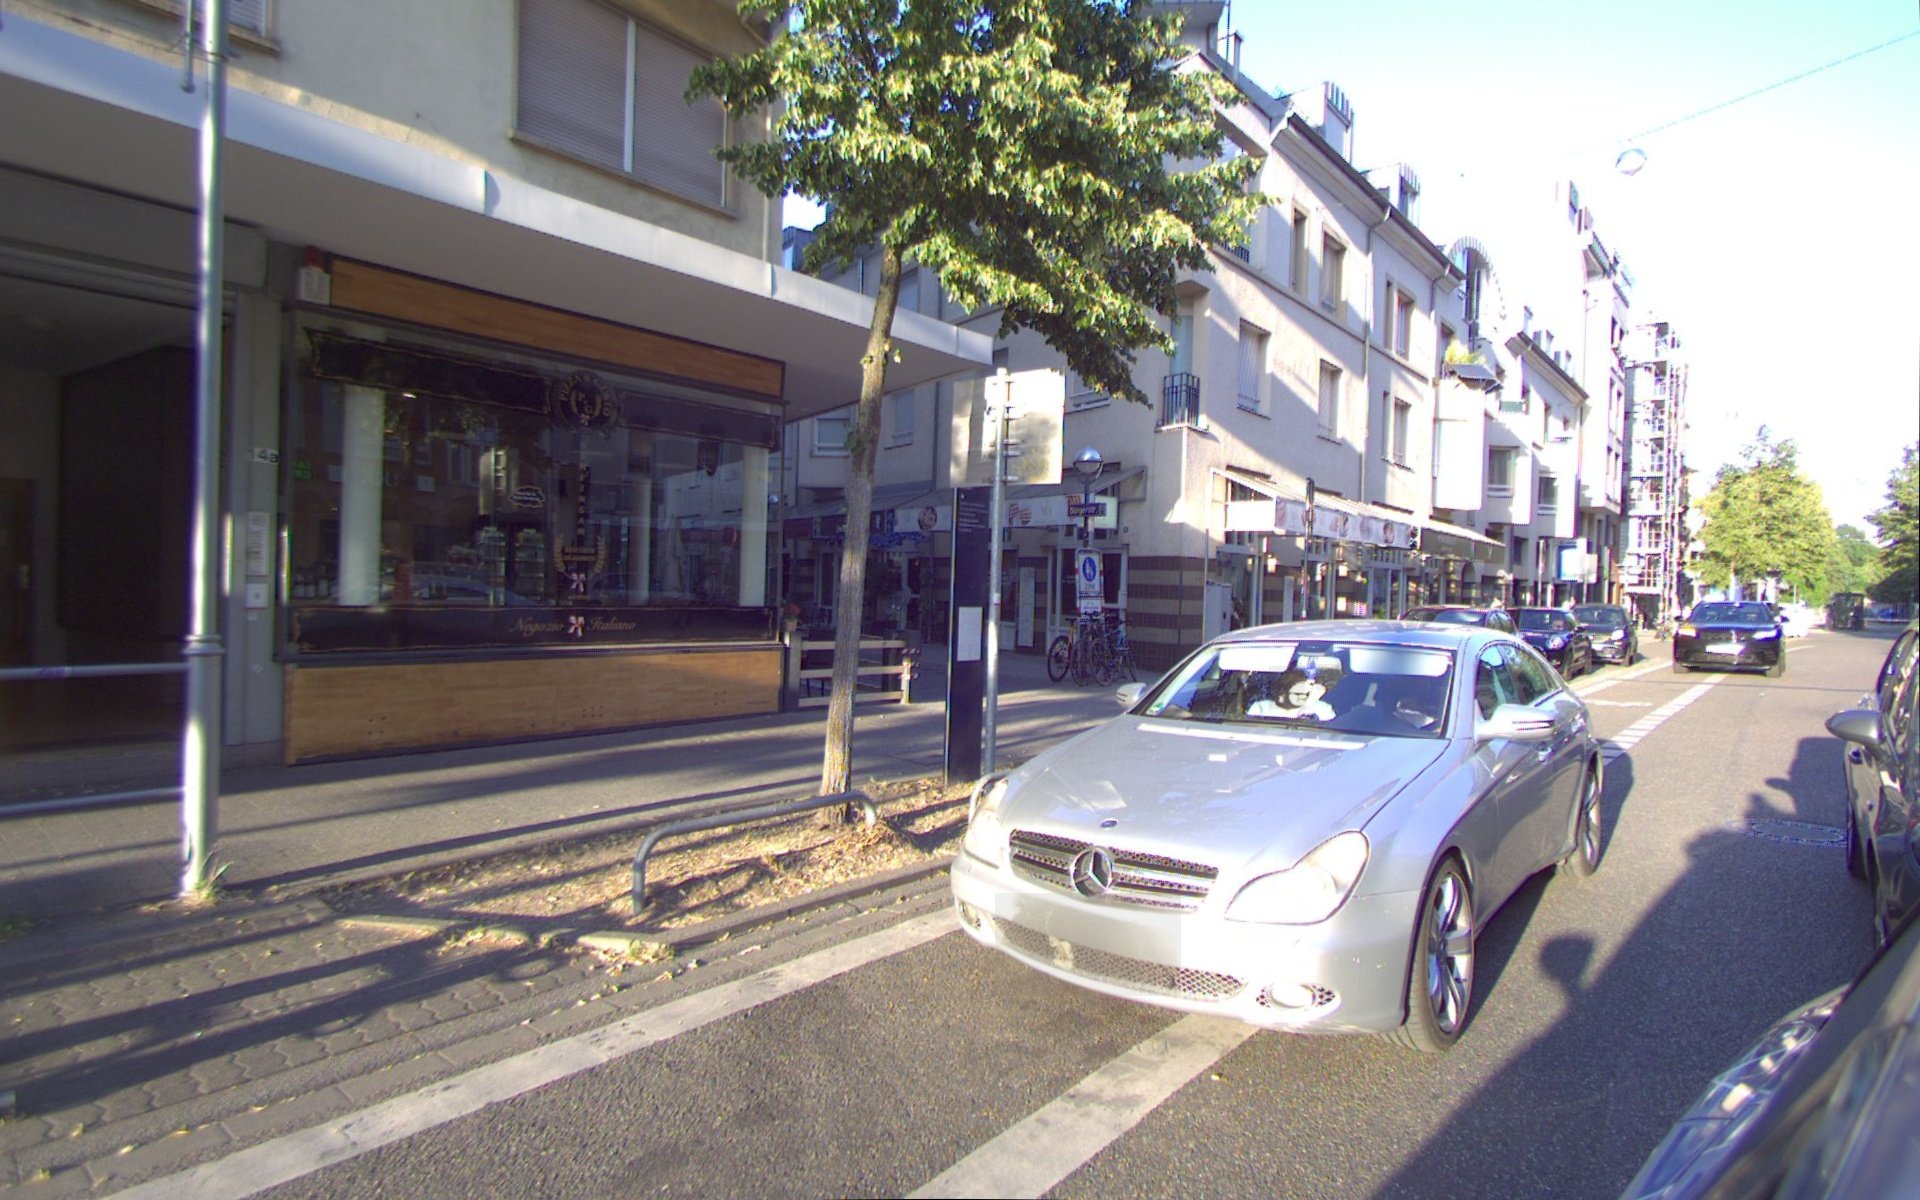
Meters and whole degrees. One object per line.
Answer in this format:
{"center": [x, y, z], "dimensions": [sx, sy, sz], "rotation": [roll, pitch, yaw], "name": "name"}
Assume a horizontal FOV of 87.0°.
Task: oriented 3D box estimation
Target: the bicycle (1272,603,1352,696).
{"center": [5.180, 0.686, 14.835], "dimensions": [0.503, 1.253, 1.687], "rotation": [3, 2, 40], "name": "bicycle"}

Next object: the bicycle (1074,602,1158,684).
{"center": [2.405, 0.617, 15.377], "dimensions": [0.330, 1.144, 1.986], "rotation": [3, 2, 37], "name": "bicycle"}

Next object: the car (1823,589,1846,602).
{"center": [95.455, -0.499, 110.496], "dimensions": [3.173, 1.490, 1.612], "rotation": [-1, 0, -44], "name": "car"}

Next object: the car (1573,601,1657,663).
{"center": [17.053, 0.775, 26.277], "dimensions": [1.426, 1.469, 3.331], "rotation": [1, 1, 40], "name": "car"}

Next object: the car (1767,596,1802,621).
{"center": [58.130, 0.558, 71.345], "dimensions": [1.760, 1.652, 3.814], "rotation": [3, 2, 41], "name": "car"}

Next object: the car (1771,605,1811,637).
{"center": [46.697, 1.155, 56.839], "dimensions": [1.686, 1.675, 3.679], "rotation": [0, 0, 41], "name": "car"}

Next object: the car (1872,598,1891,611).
{"center": [133.652, 0.586, 146.797], "dimensions": [3.525, 1.829, 1.842], "rotation": [-1, 0, -44], "name": "car"}

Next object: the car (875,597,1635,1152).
{"center": [1.828, 0.692, 4.873], "dimensions": [1.784, 1.386, 4.504], "rotation": [0, 0, 41], "name": "car"}

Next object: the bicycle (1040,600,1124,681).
{"center": [1.926, 0.596, 15.758], "dimensions": [0.330, 1.144, 1.986], "rotation": [1, 1, 37], "name": "bicycle"}

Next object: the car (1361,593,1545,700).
{"center": [7.793, 0.645, 15.831], "dimensions": [1.647, 1.446, 3.940], "rotation": [0, 0, 41], "name": "car"}

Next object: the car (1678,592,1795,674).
{"center": [17.622, 0.678, 22.911], "dimensions": [1.889, 1.663, 3.694], "rotation": [1, 1, 41], "name": "car"}

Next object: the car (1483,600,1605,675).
{"center": [12.146, 0.707, 20.958], "dimensions": [1.608, 1.412, 3.642], "rotation": [0, 0, 39], "name": "car"}

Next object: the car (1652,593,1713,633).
{"center": [31.506, 0.551, 44.110], "dimensions": [1.760, 1.591, 3.814], "rotation": [3, 2, 41], "name": "car"}

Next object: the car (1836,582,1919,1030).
{"center": [4.874, 0.686, 4.246], "dimensions": [1.580, 1.471, 3.790], "rotation": [1, 1, 38], "name": "car"}

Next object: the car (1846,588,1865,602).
{"center": [106.170, -0.573, 120.040], "dimensions": [1.667, 1.660, 3.207], "rotation": [0, 0, 42], "name": "car"}

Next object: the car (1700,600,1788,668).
{"center": [20.258, 0.812, 26.108], "dimensions": [1.684, 1.562, 3.679], "rotation": [0, 0, 39], "name": "car"}
